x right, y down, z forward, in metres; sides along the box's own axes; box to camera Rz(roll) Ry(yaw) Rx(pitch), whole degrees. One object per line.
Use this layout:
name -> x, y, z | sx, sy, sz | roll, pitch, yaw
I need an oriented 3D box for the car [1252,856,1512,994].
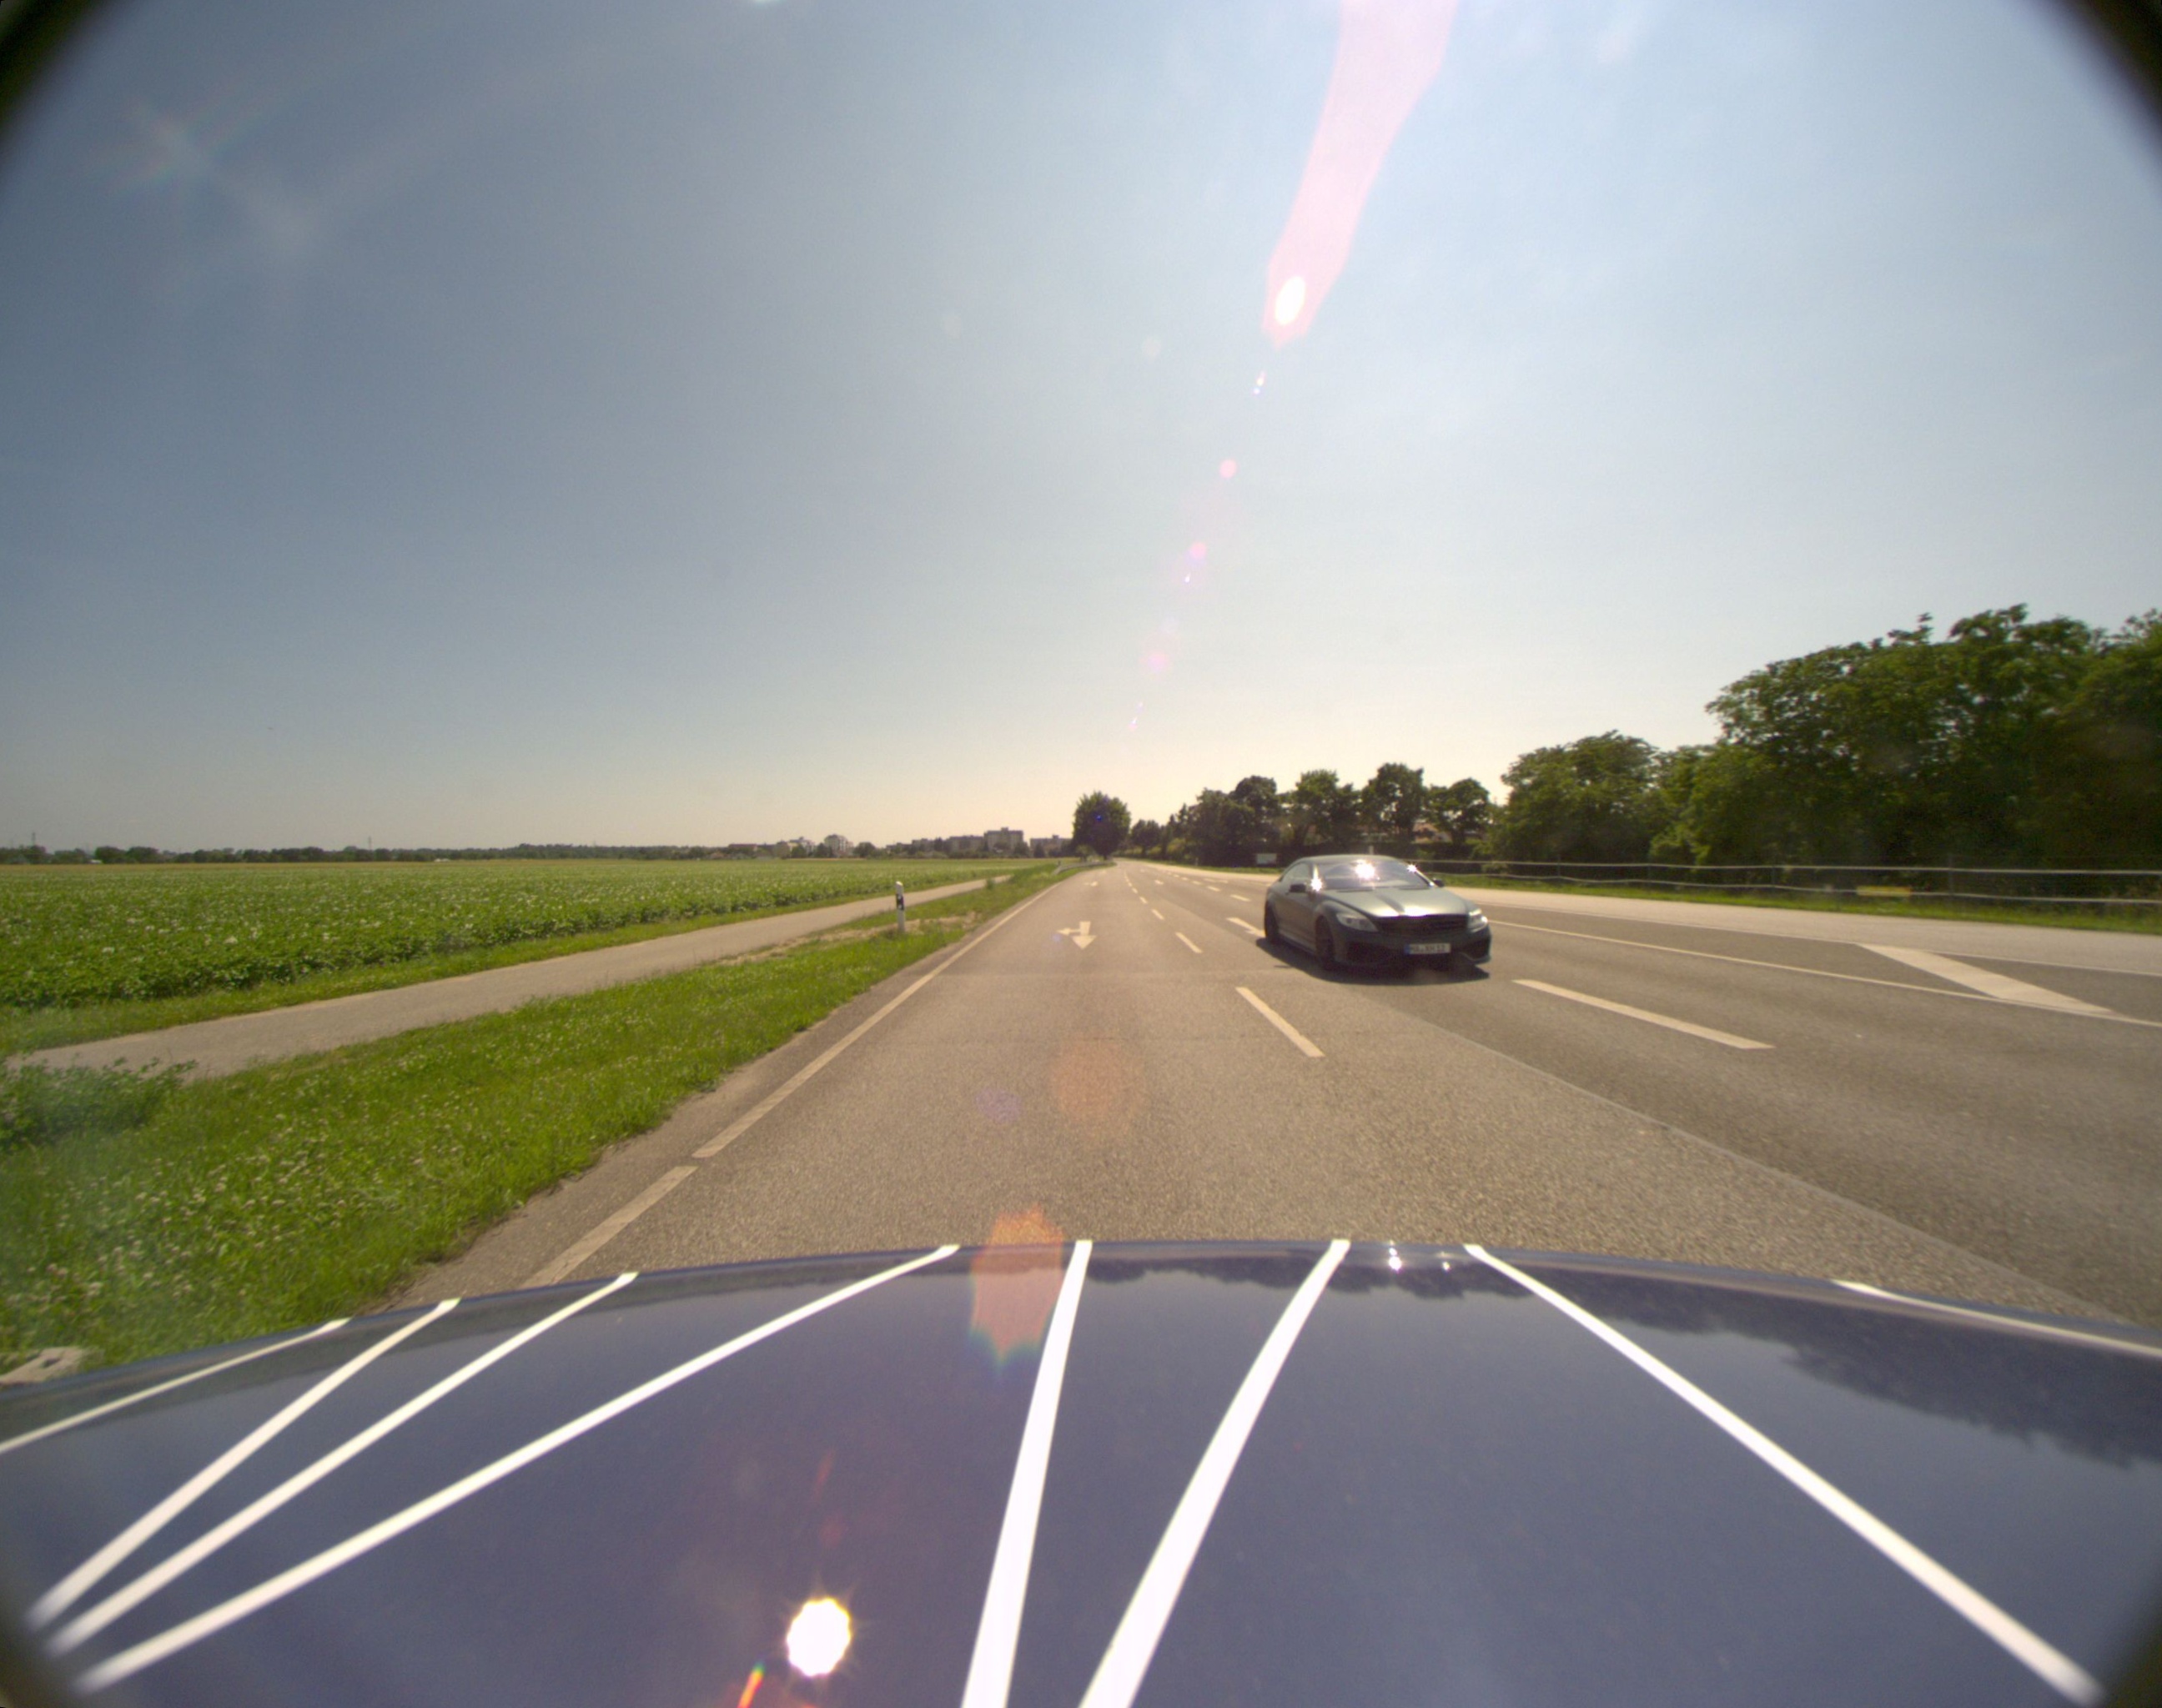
car -> 3.875, 0.795, 10.842 | 1.815, 1.441, 4.877 | -2, 0, 1
